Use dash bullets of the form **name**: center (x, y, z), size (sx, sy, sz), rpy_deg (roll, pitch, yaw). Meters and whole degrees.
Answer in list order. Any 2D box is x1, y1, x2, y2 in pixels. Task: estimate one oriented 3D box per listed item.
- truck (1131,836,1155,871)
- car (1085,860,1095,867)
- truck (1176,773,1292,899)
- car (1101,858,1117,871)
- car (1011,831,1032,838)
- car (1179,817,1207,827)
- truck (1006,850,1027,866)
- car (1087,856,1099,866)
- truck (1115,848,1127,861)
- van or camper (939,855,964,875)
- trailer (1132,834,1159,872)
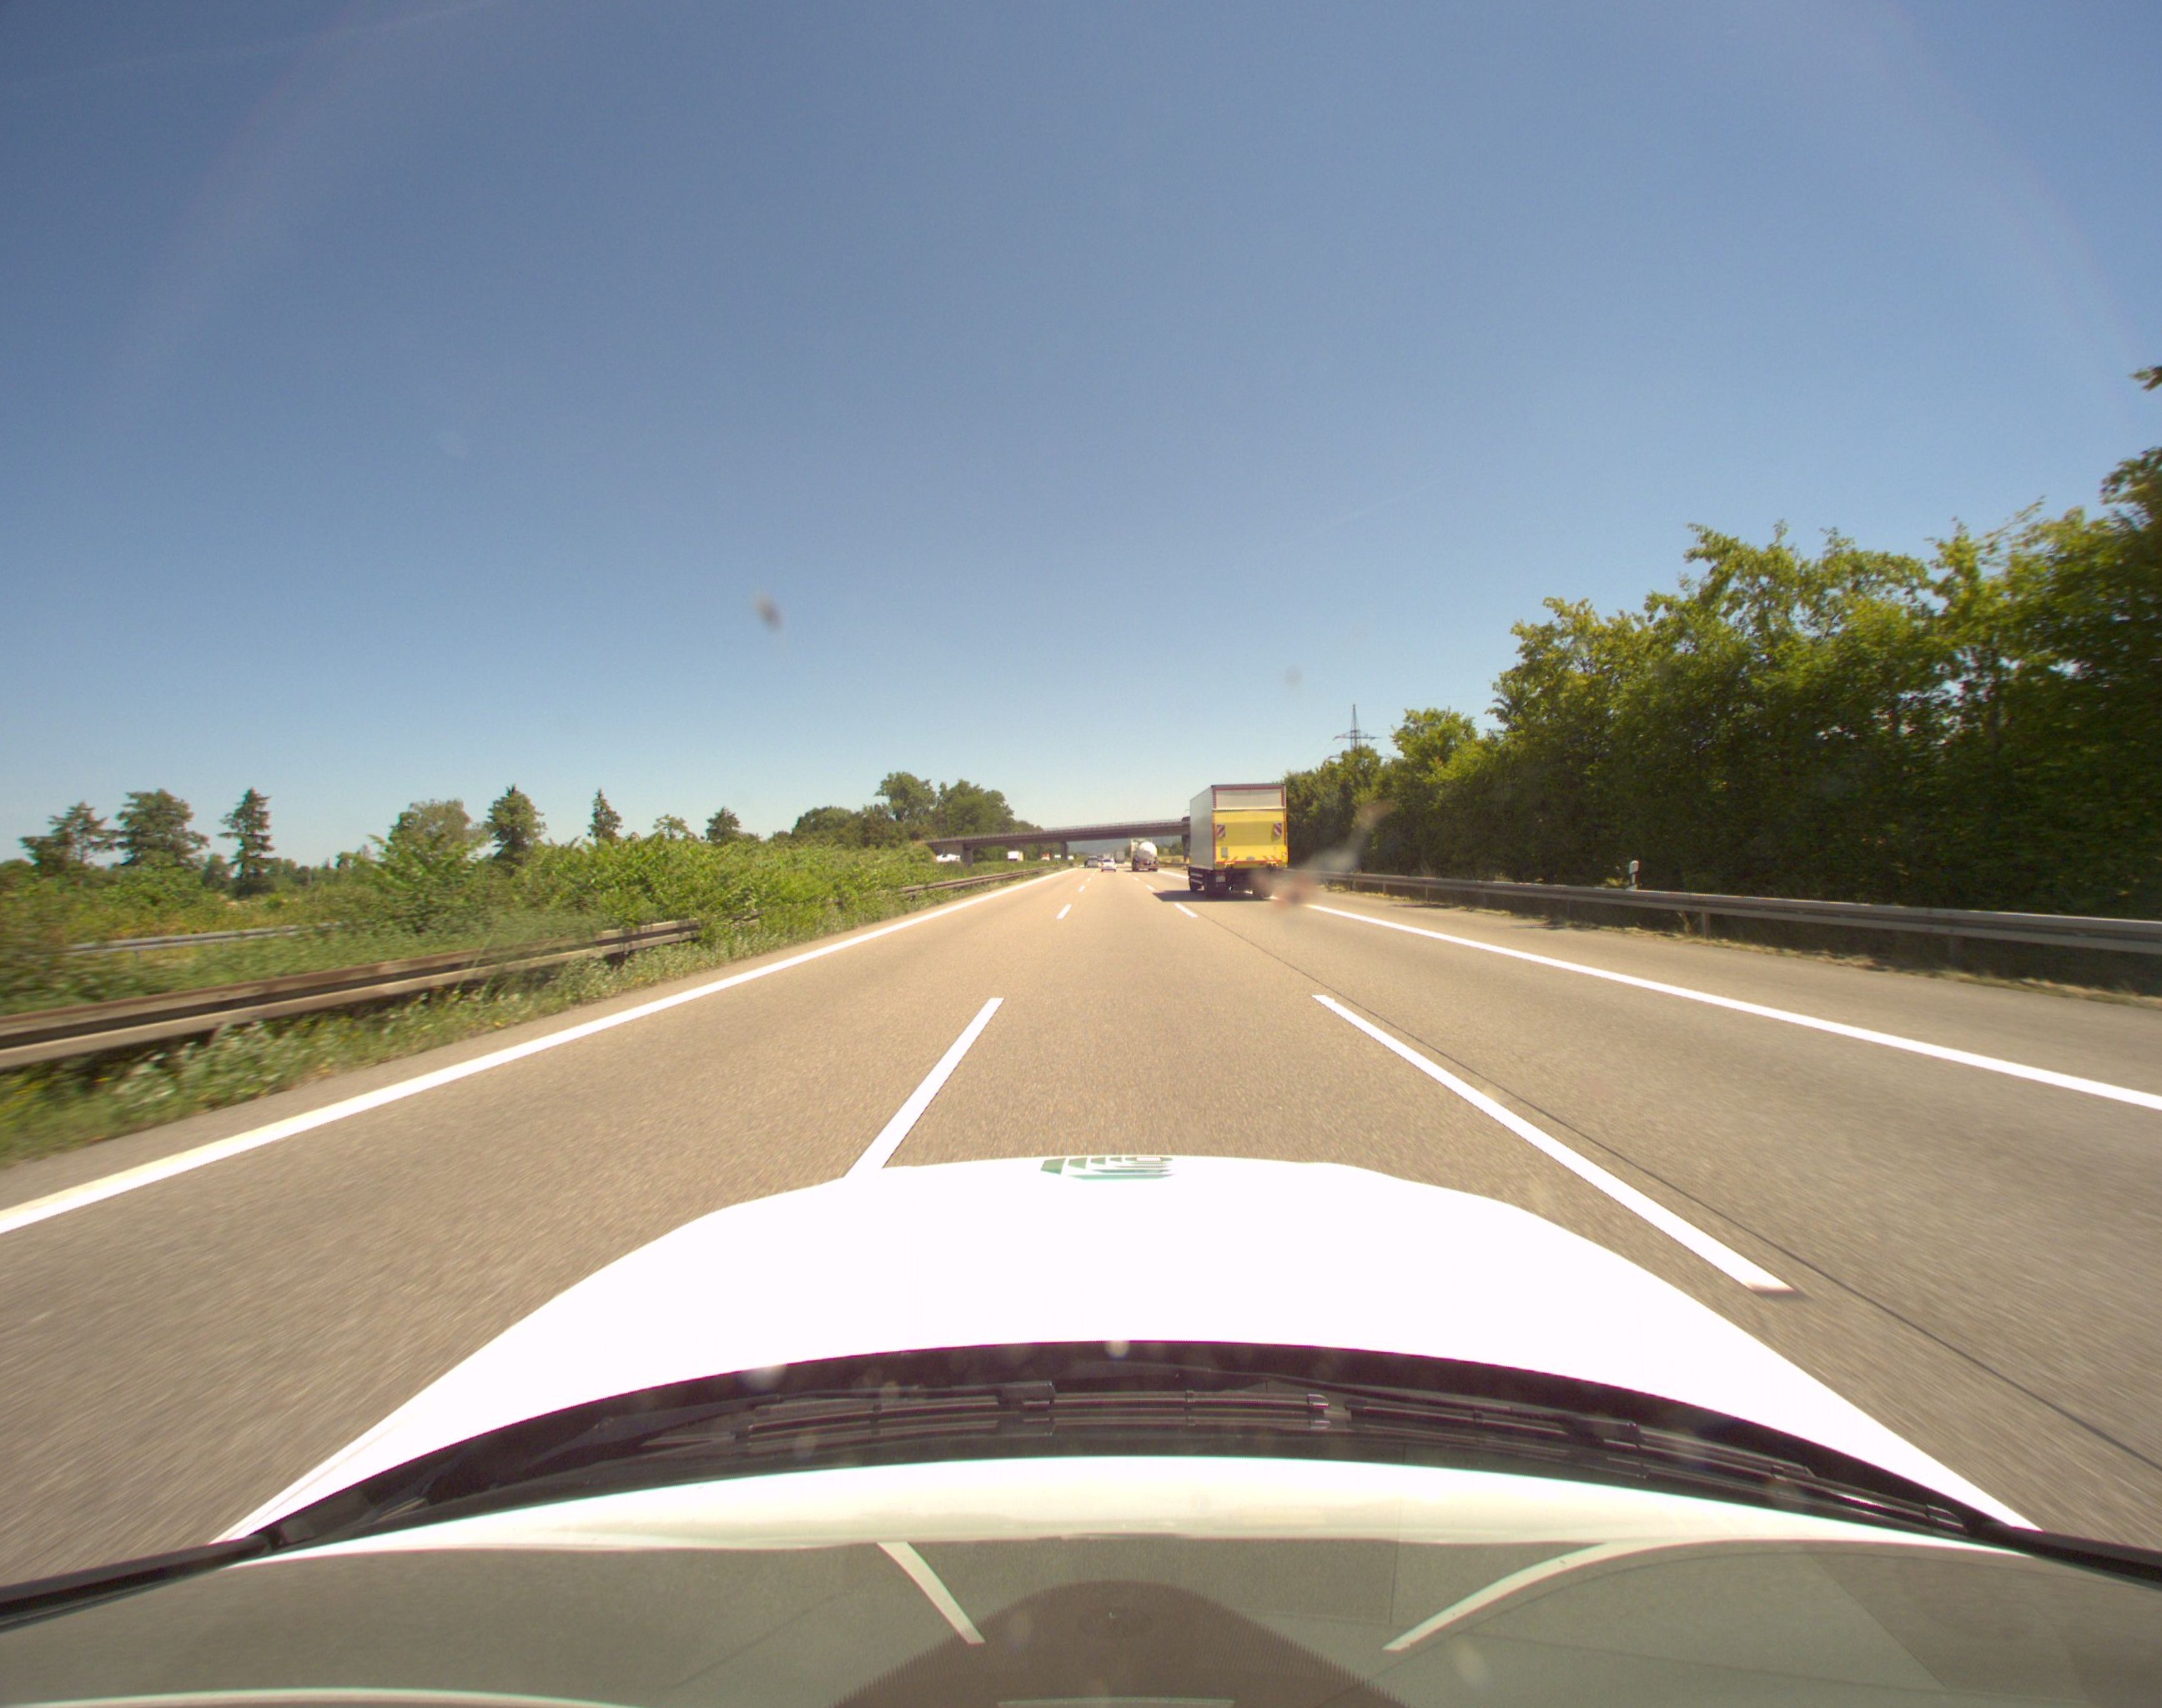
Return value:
- **truck**: center (7.498, -0.043, 98.813), size (2.564, 4.072, 6.394), rpy_deg (0, 0, 1)
- **car**: center (1.823, 1.853, 160.994), size (1.828, 1.386, 4.002), rpy_deg (0, 0, 2)
- **truck**: center (5.756, -0.580, 32.688), size (2.922, 4.200, 10.684), rpy_deg (0, 0, 2)
- **car**: center (3.188, 1.189, 93.903), size (1.800, 1.468, 4.002), rpy_deg (0, 0, 2)
- **car**: center (-11.898, -3.942, 163.352), size (3.948, 1.386, 1.853), rpy_deg (0, 0, 36)
- **car**: center (17.788, -5.098, 129.580), size (3.948, 1.386, 1.853), rpy_deg (0, 0, 39)
- **truck**: center (-14.457, 0.894, 182.682), size (2.864, 3.498, 10.750), rpy_deg (0, 0, 5)
- **car**: center (2.004, 1.187, 137.230), size (1.845, 1.633, 4.002), rpy_deg (0, 0, 2)
- **truck**: center (11.935, 0.287, 244.246), size (3.253, 3.857, 11.634), rpy_deg (0, 0, 1)
- **van or camper**: center (-16.703, 1.363, 105.238), size (1.986, 2.545, 6.301), rpy_deg (0, 0, 2)
- **trailer**: center (7.374, -0.061, 94.153), size (2.570, 4.074, 11.105), rpy_deg (0, 0, 1)
